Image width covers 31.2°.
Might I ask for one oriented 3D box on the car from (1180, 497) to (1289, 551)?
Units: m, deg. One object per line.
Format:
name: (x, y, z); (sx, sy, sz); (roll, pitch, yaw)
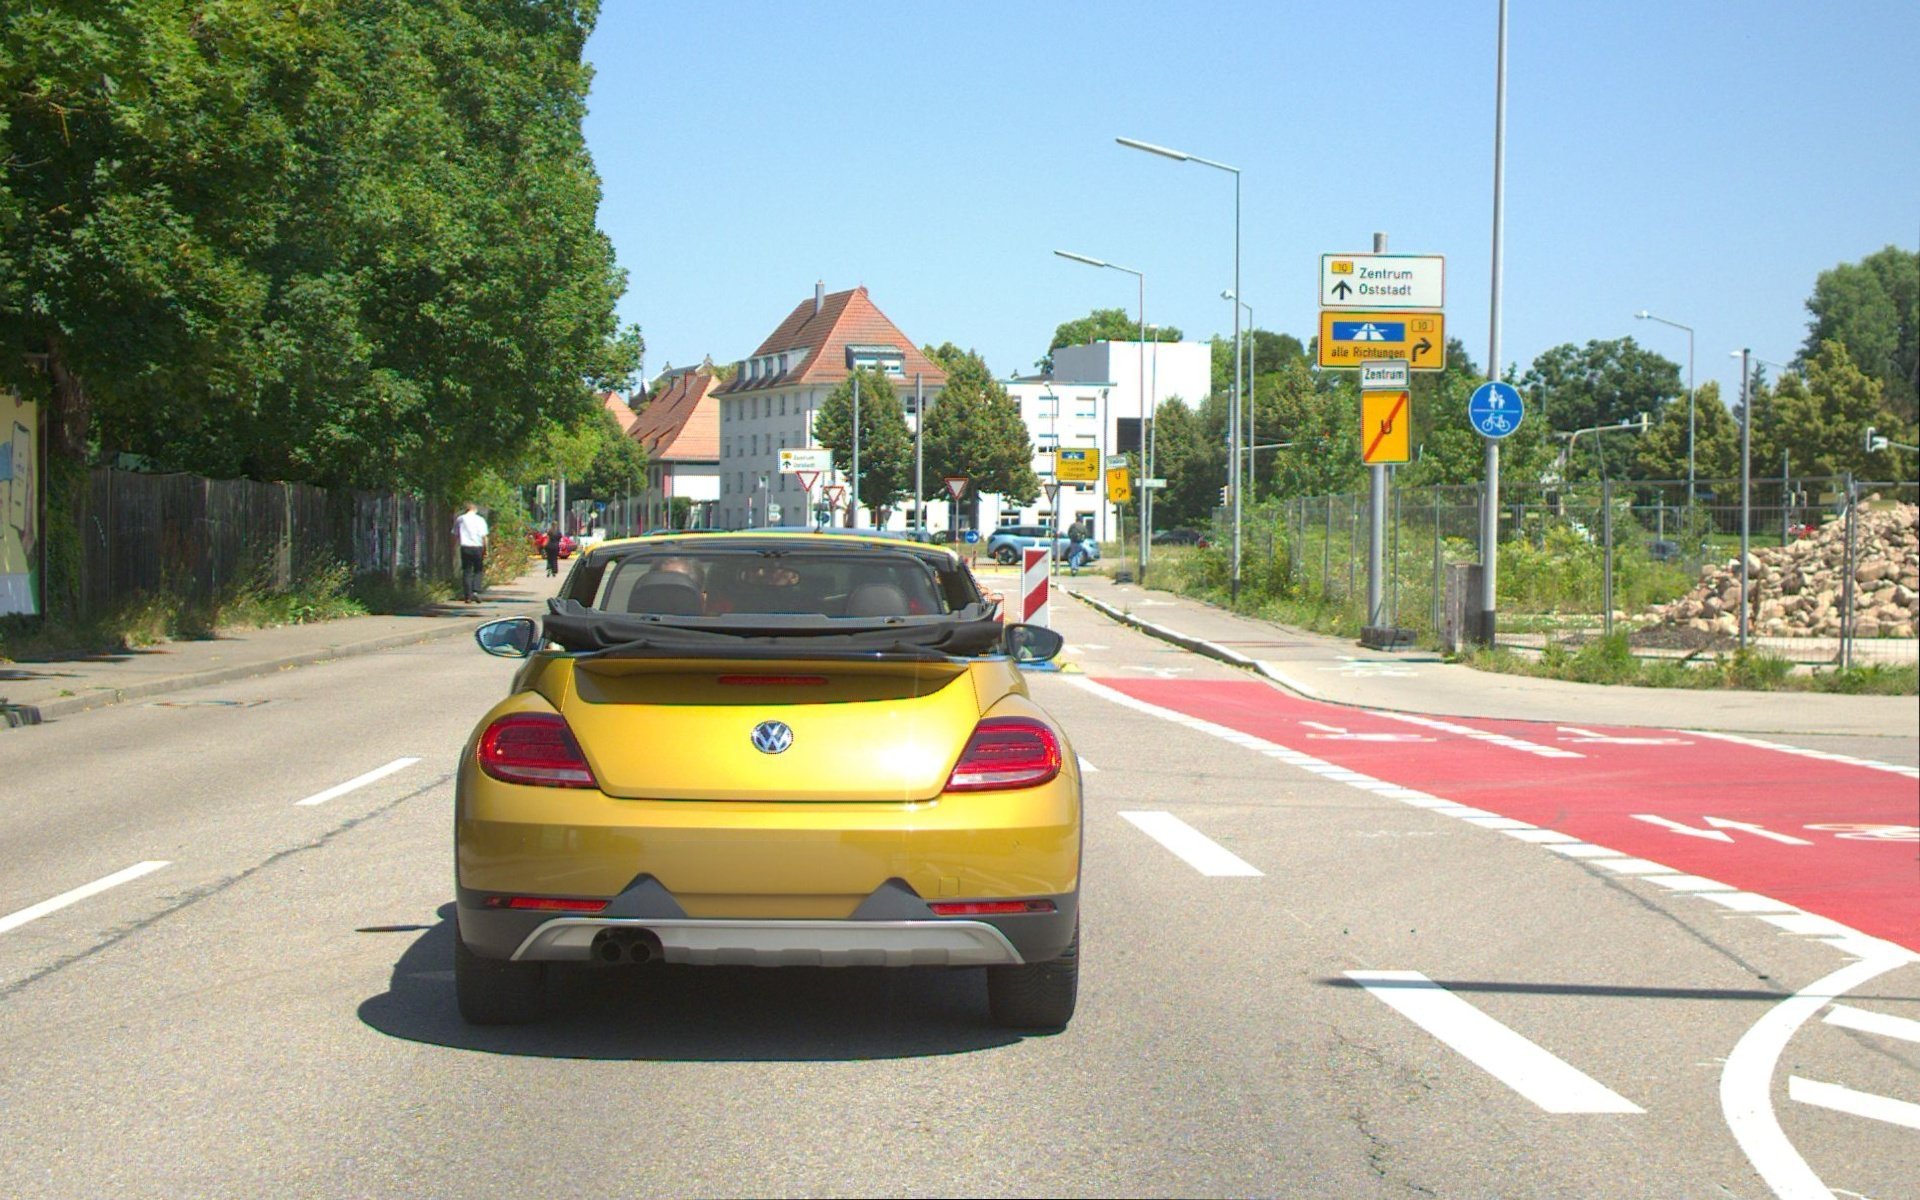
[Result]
car: (10.320, -2.859, 129.091); (3.988, 2.007, 2.000); (0, 1, 8)

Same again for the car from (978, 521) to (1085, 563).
car: (2.830, -2.280, 134.923); (3.988, 1.548, 1.992); (1, 2, 7)

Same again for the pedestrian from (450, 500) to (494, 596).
pedestrian: (-8.781, -0.938, 61.863); (0.722, 1.719, 0.818); (0, 1, -5)

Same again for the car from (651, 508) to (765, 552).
car: (-9.738, -2.707, 133.129); (4.066, 1.671, 1.784); (0, 1, 12)

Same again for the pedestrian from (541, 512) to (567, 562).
pedestrian: (-11.849, -1.829, 100.275); (0.722, 1.449, 0.818); (0, 1, -5)

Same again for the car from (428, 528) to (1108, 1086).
car: (-0.576, 0.507, 10.997); (1.790, 1.431, 3.814); (0, 2, -2)

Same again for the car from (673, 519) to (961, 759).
car: (-0.873, 0.186, 22.689); (1.726, 1.438, 4.000); (0, 1, 0)

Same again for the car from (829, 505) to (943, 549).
car: (-2.741, -2.737, 128.027); (3.988, 1.607, 1.790); (0, 1, 10)
